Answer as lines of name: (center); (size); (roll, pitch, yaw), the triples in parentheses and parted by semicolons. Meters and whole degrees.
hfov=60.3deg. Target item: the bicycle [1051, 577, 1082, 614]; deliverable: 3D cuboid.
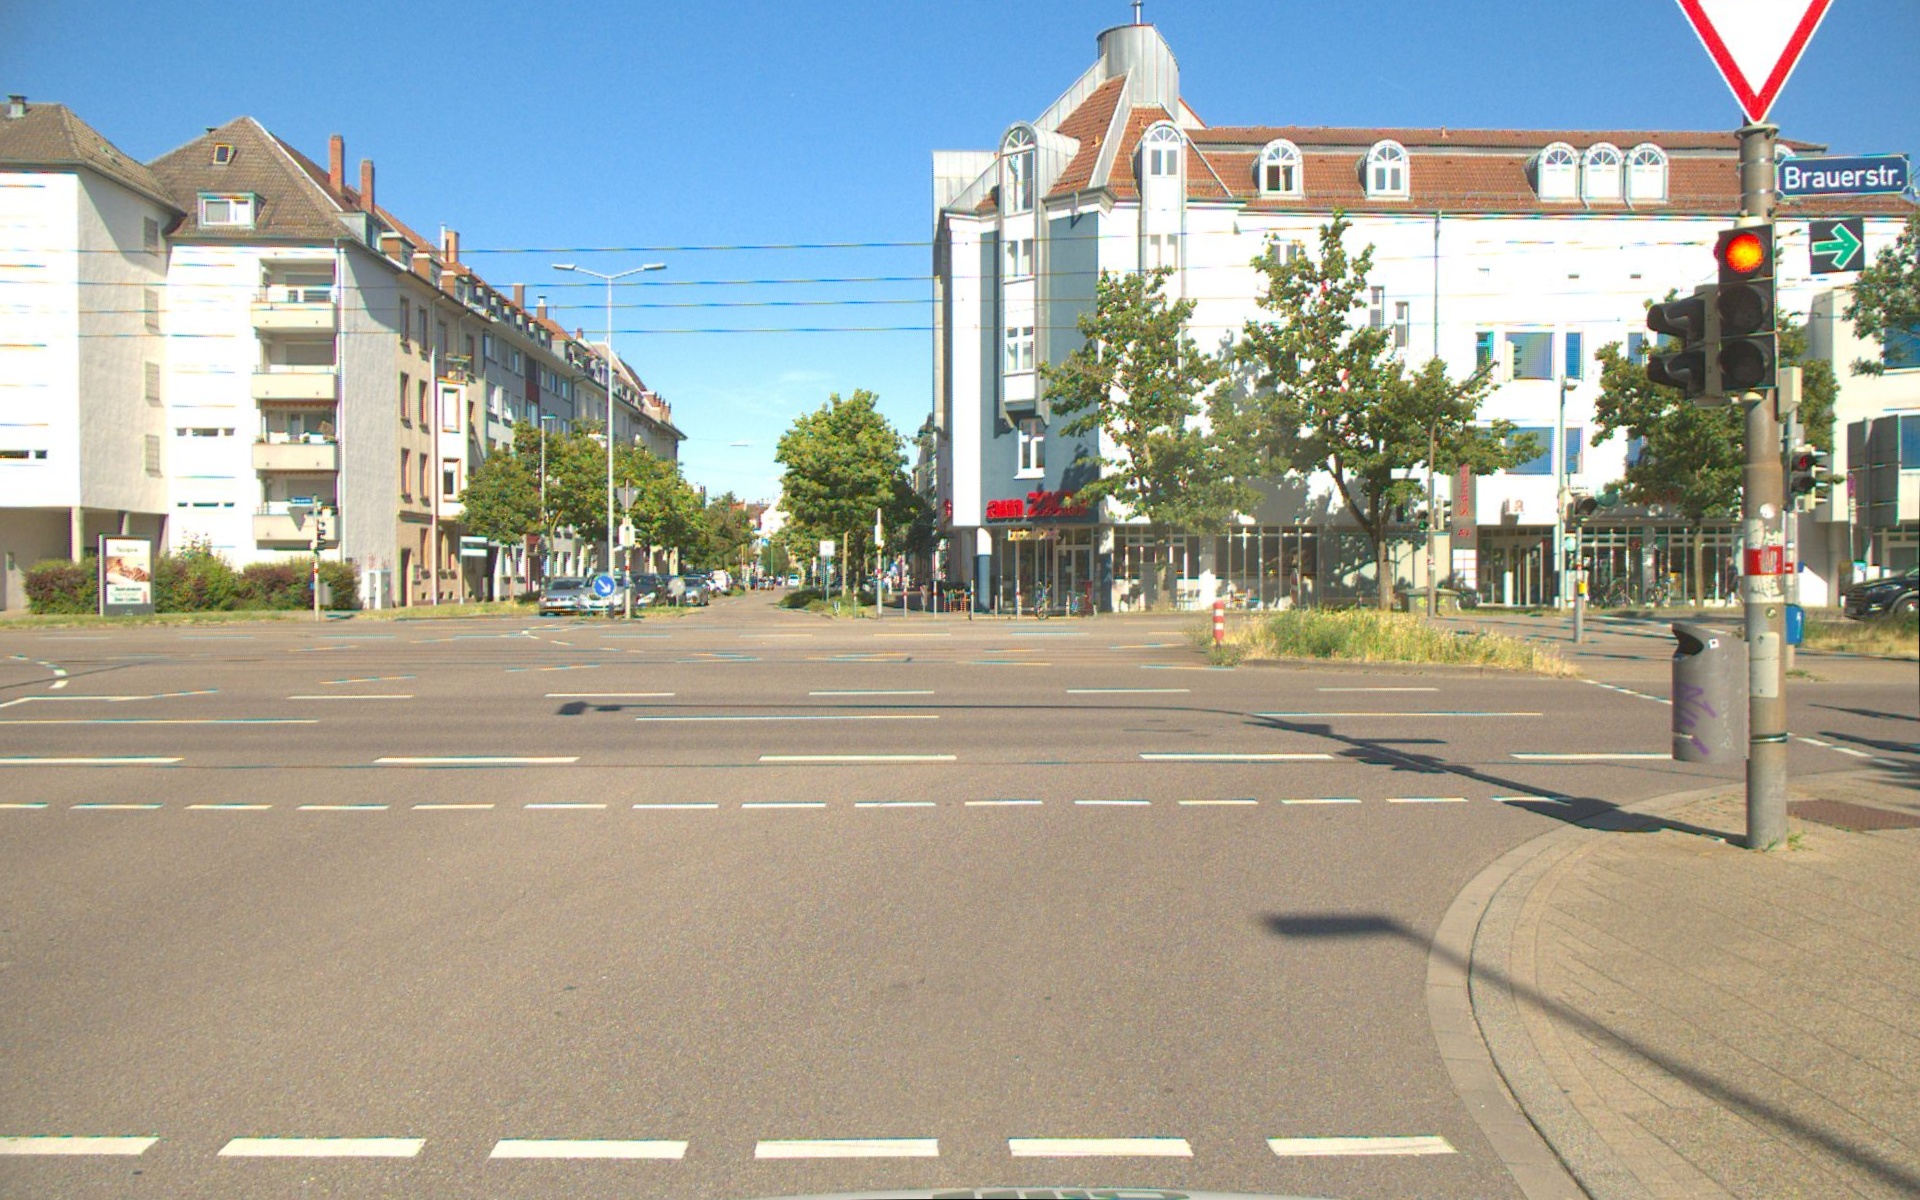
bicycle: (3.092, -0.129, 48.075); (0.463, 1.045, 1.510); (-1, 1, -14)

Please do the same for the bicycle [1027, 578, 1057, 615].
bicycle: (2.354, -0.107, 47.524); (0.463, 1.045, 1.511); (-1, 1, -13)

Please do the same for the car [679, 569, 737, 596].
car: (-19.888, -1.371, 130.796); (4.417, 2.049, 1.998); (0, 0, -5)

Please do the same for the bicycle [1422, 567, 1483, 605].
bicycle: (16.244, -0.464, 54.563); (1.828, 1.203, 0.561); (-1, 1, -7)

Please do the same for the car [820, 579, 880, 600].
car: (-6.718, -0.636, 100.504); (3.502, 1.244, 1.727); (0, 0, -10)

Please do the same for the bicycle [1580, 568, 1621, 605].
bicycle: (21.788, -0.464, 56.283); (0.549, 1.203, 1.868); (-1, 1, -4)

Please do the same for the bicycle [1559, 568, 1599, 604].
bicycle: (20.918, -0.487, 55.936); (0.549, 1.203, 1.868); (-1, 1, -4)

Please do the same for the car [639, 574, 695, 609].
car: (-13.120, -0.369, 74.198); (1.653, 1.457, 4.400); (2, 0, 0)

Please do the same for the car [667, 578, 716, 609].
car: (-13.484, -0.333, 83.245); (1.653, 1.457, 4.400); (2, 0, 0)

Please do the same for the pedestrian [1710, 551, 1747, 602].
pedestrian: (26.466, -0.807, 56.951); (0.970, 1.753, 0.654); (-1, 1, -4)

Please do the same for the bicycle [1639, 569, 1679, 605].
bicycle: (23.639, -0.442, 55.946); (0.549, 1.203, 1.869); (-1, 1, -1)

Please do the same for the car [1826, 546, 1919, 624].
car: (21.398, -0.345, 35.660); (4.405, 1.637, 2.002); (0, 1, 7)

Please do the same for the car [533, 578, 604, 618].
car: (-15.216, -0.103, 64.523); (1.653, 1.457, 4.400); (2, 0, 0)

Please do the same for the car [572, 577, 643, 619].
car: (-13.065, -0.095, 61.581); (1.653, 1.457, 4.400); (2, 0, 0)

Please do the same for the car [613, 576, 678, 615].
car: (-12.865, -0.191, 67.940); (1.653, 1.457, 4.401); (2, 0, 2)

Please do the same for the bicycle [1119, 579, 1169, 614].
bicycle: (5.544, -0.112, 49.920); (1.479, 1.045, 0.473); (-1, 1, 8)
